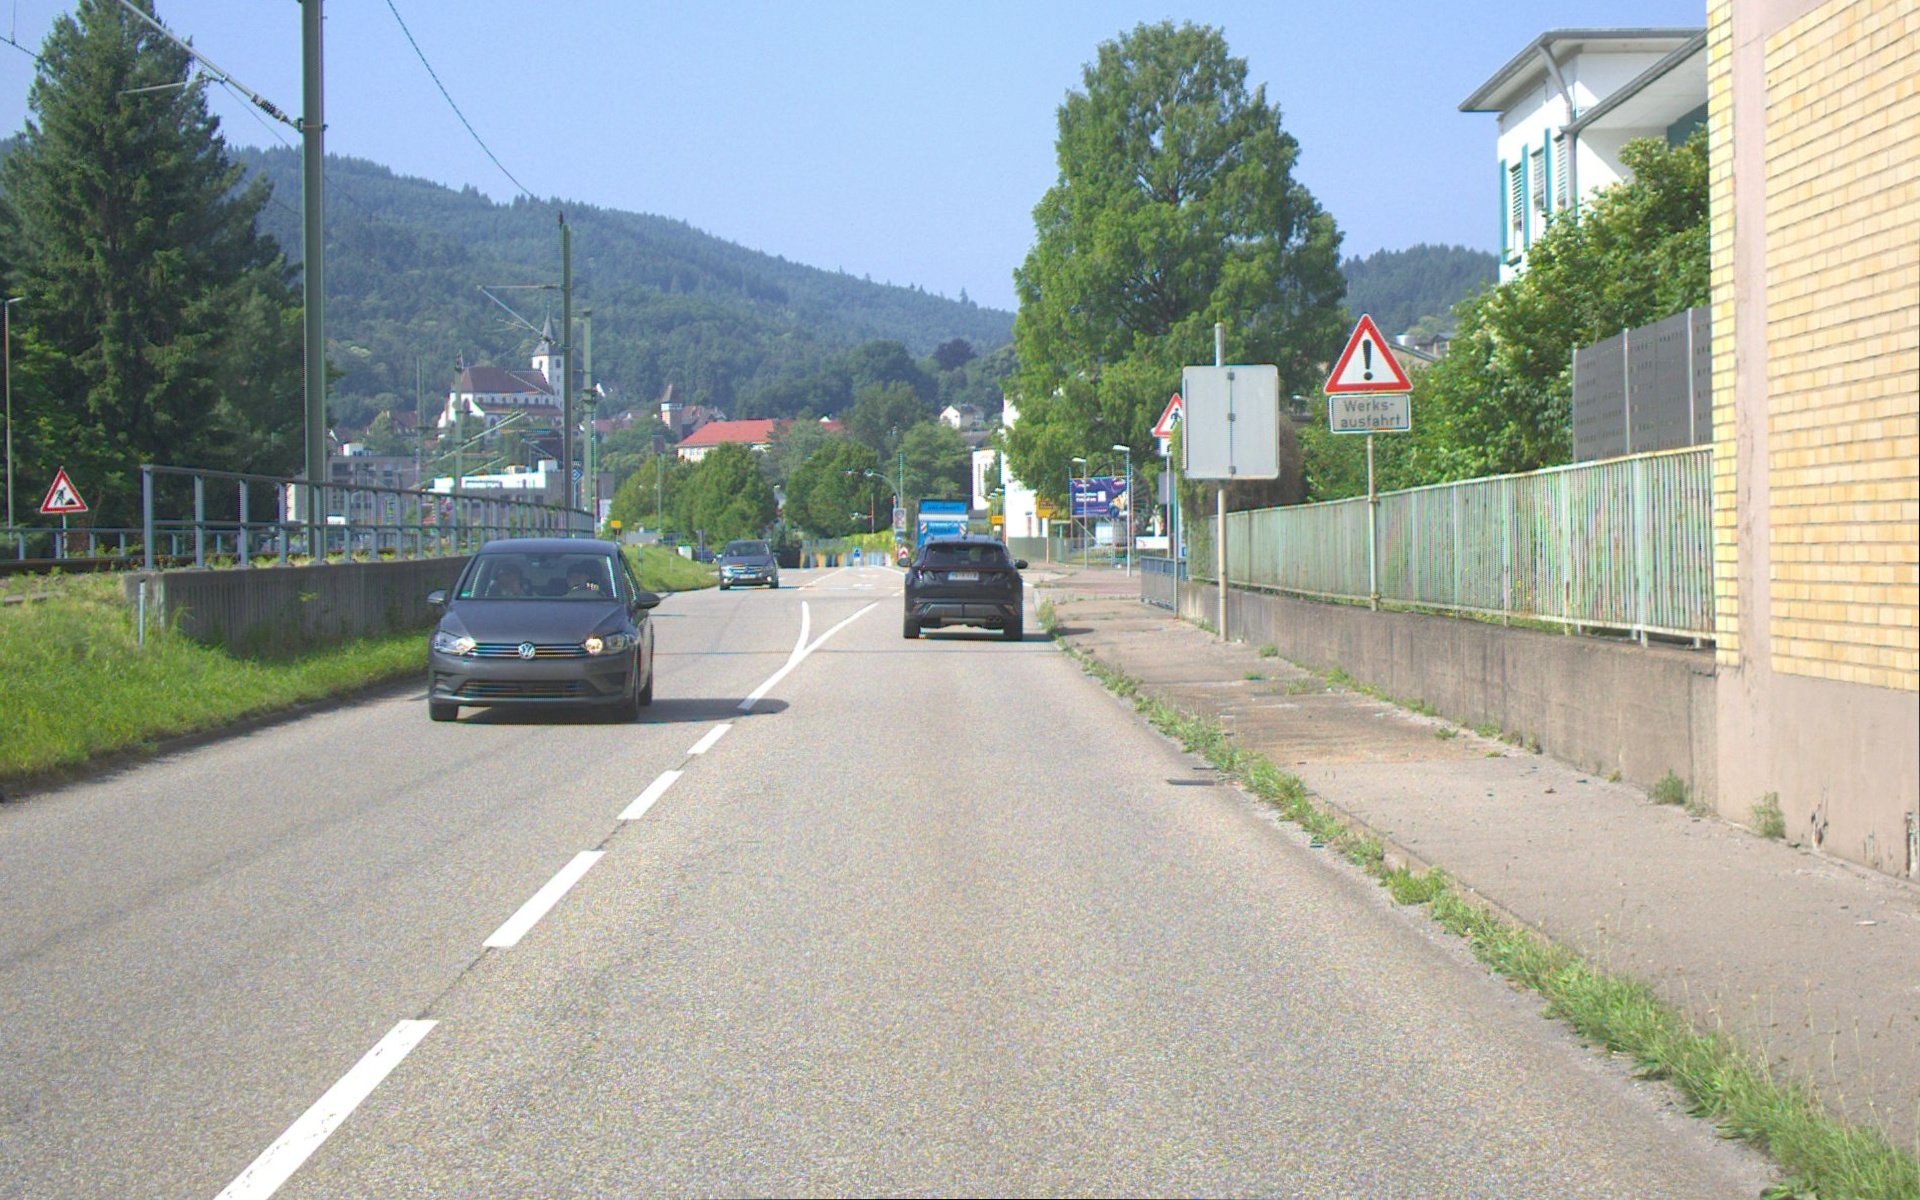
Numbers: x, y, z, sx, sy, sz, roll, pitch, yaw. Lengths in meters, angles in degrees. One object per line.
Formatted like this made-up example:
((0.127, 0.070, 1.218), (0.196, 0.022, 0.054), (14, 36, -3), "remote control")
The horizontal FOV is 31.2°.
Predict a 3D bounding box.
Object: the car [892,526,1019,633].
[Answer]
((-0.032, -0.351, 54.846), (1.919, 1.634, 4.000), (0, 1, 1), "car")

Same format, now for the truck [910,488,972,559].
((-0.832, -3.266, 146.658), (2.312, 2.960, 5.966), (-1, 1, -3), "truck")

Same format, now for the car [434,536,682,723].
((-3.446, 0.205, 30.114), (1.731, 1.521, 4.092), (0, 1, -1), "car")

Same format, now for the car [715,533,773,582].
((-6.771, -1.350, 108.073), (1.741, 1.502, 4.200), (0, 1, -2), "car")
